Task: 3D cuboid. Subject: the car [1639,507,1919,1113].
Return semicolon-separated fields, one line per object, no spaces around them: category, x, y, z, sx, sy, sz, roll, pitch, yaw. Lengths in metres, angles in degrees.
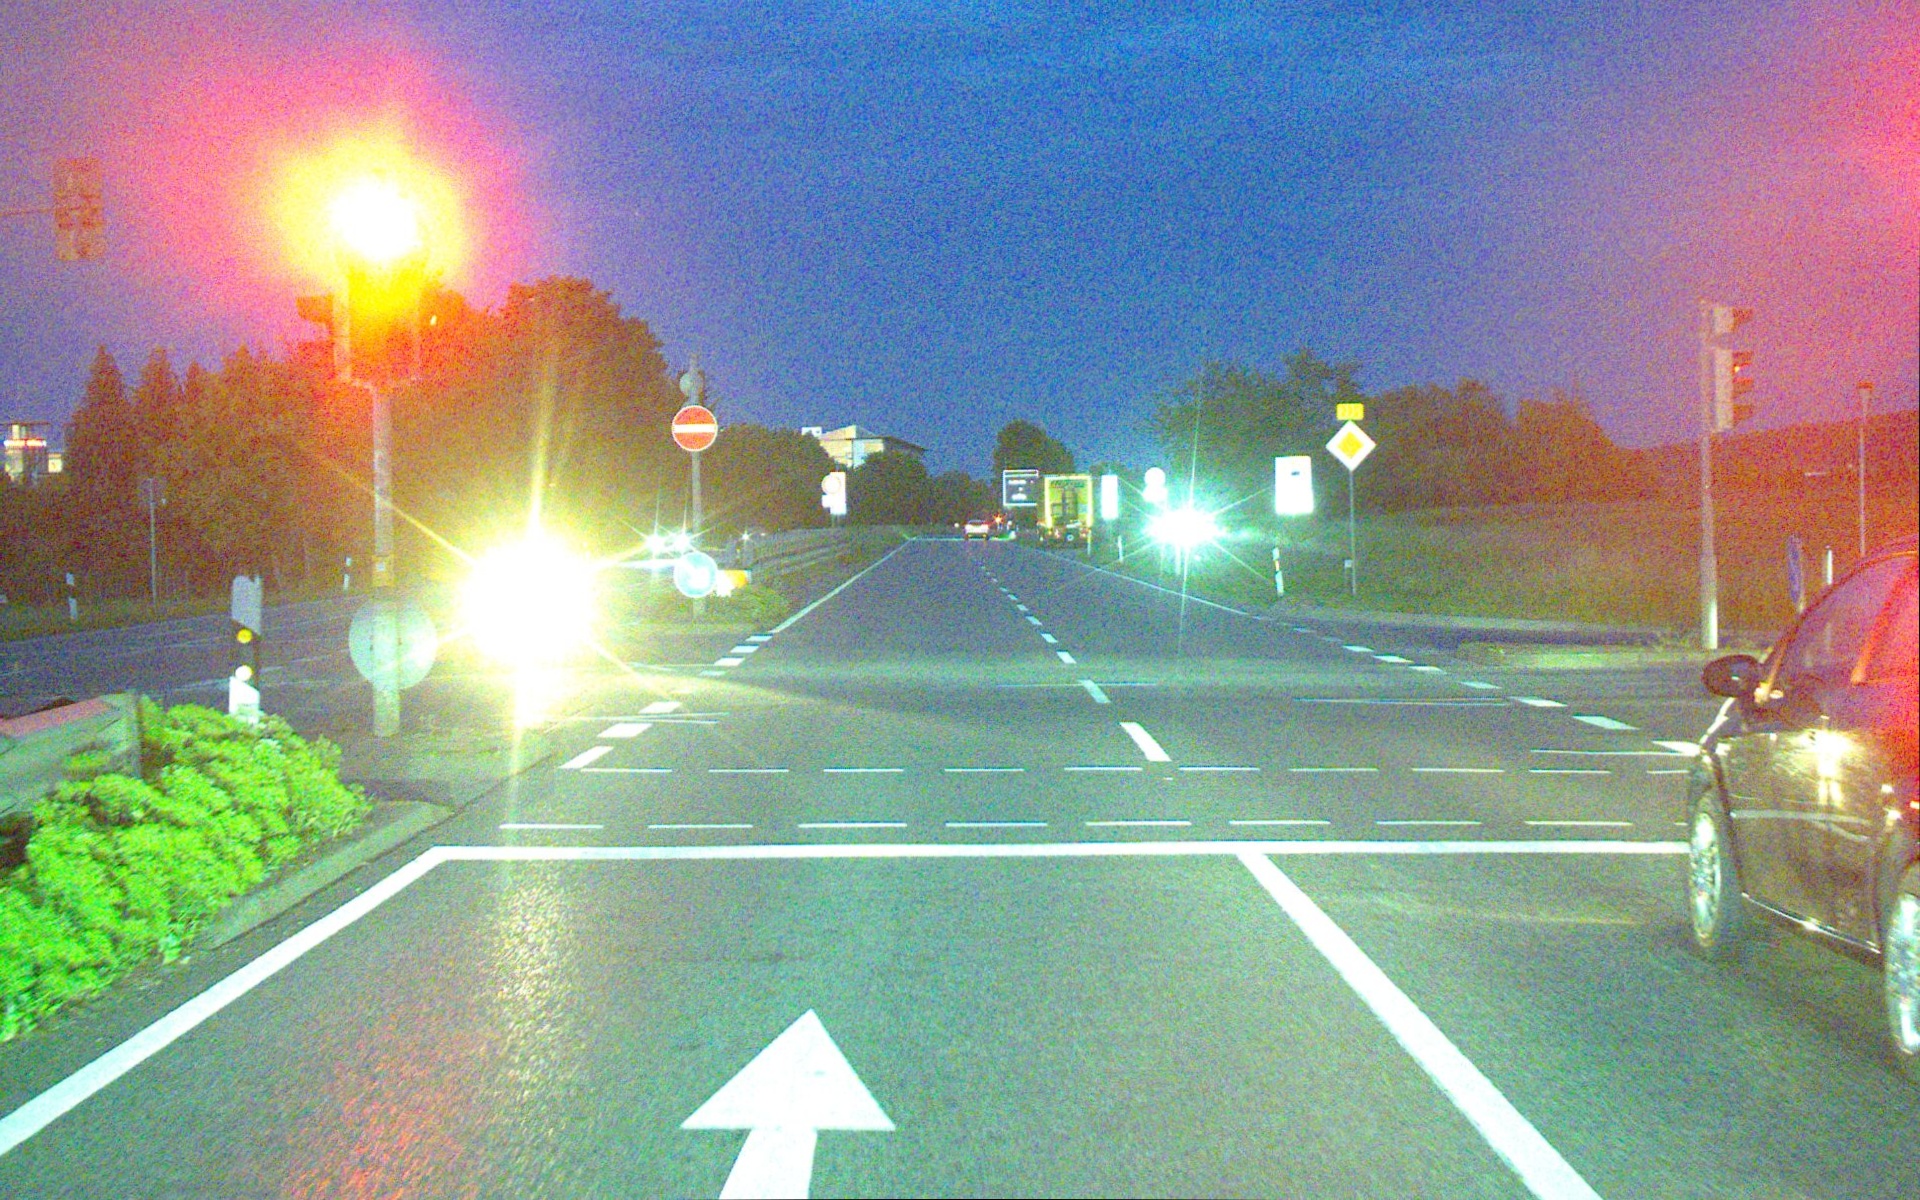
car;3.260;0.488;10.307;1.670;1.515;4.106;0;1;1

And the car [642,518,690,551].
car;-14.264;-3.188;167.179;1.993;1.514;4.298;-1;2;-1

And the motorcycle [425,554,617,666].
motorcycle;-4.573;0.083;35.623;0.979;1.095;2.508;-2;2;-32

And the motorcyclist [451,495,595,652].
motorcyclist;-4.521;-0.284;35.546;1.137;1.579;0.972;-2;2;-32
